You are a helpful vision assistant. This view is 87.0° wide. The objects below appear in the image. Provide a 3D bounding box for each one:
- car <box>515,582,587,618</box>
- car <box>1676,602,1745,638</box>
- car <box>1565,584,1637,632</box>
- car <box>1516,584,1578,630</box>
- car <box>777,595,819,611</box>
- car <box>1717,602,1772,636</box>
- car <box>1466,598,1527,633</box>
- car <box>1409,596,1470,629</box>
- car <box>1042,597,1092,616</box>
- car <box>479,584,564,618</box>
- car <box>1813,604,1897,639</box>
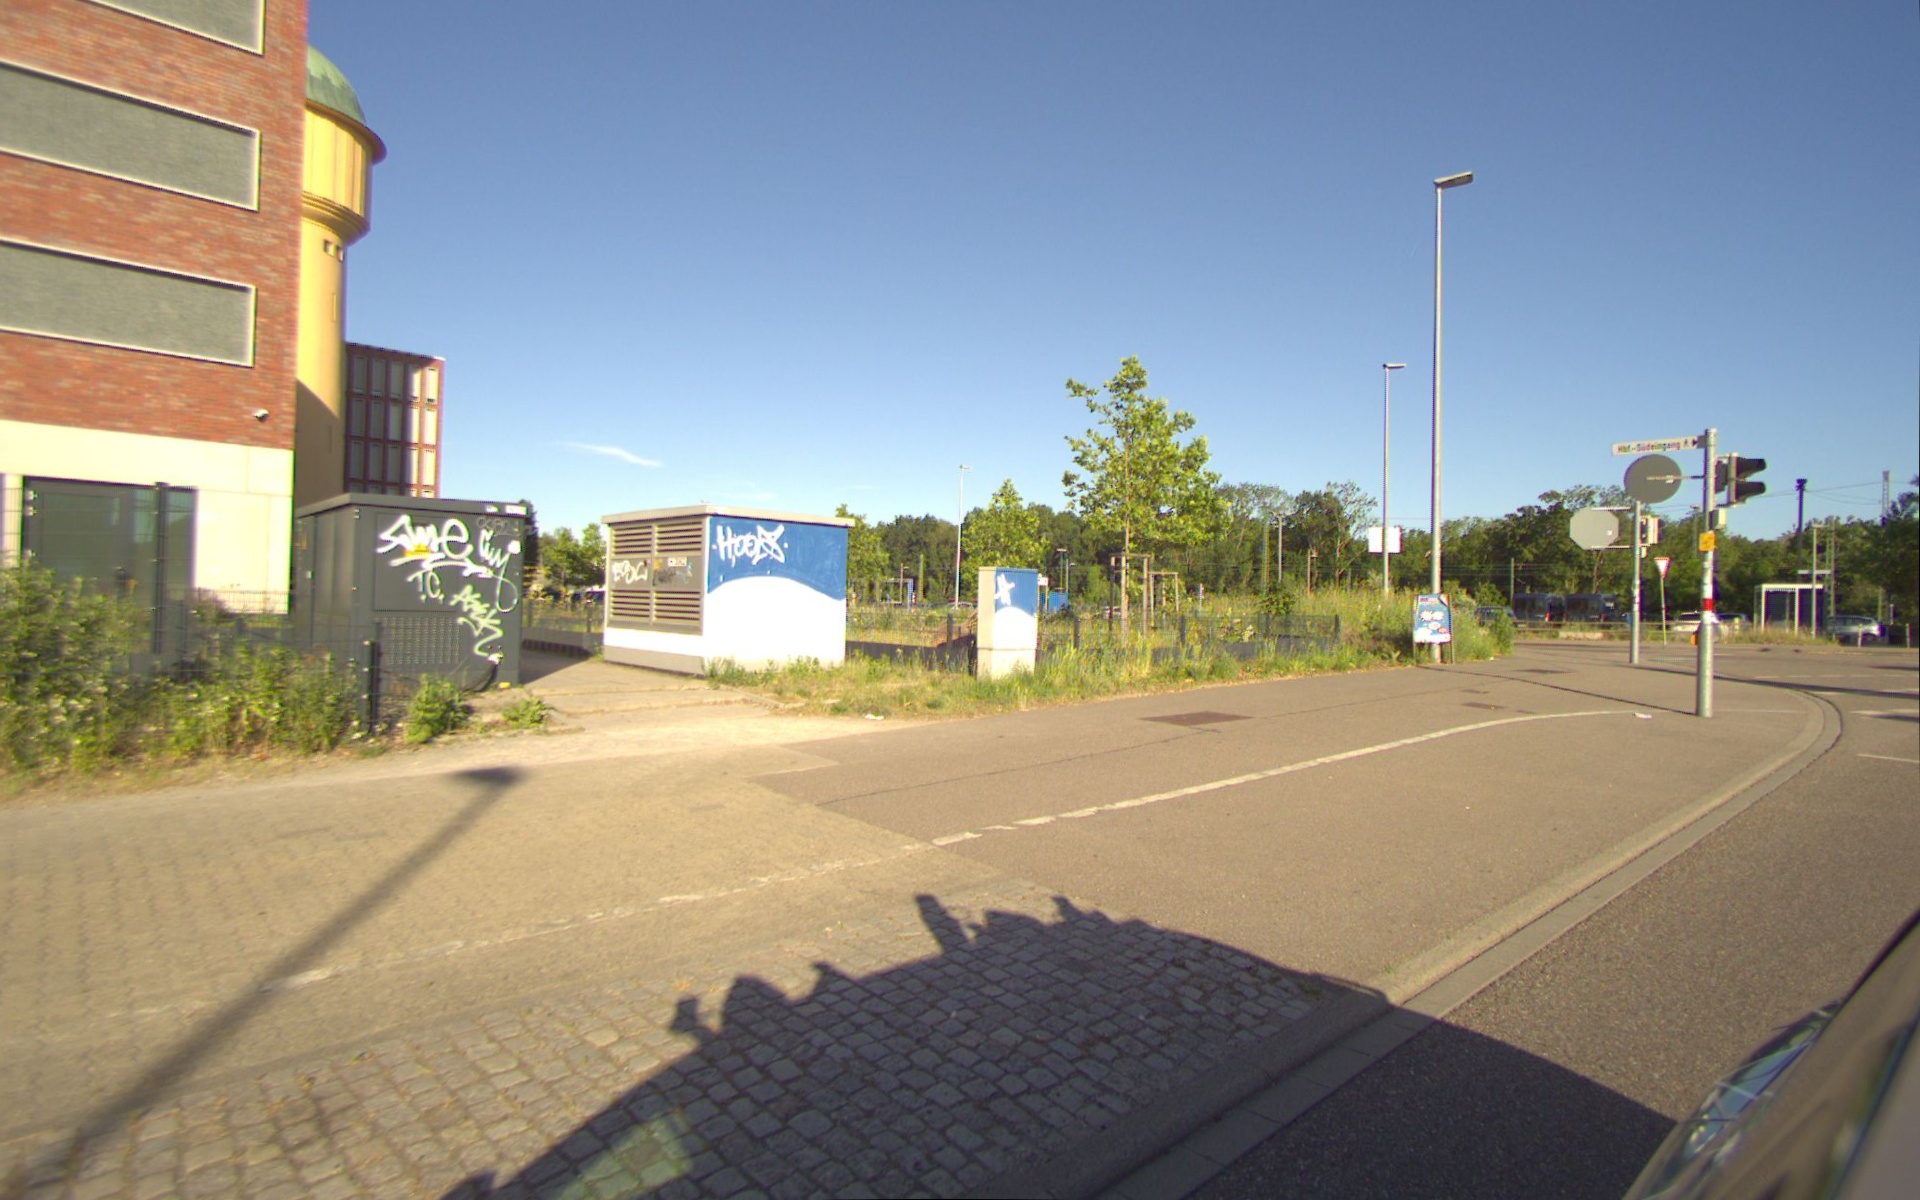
[{"bbox_3d":[-23.806,0.033,58.975,3.425,2.047,1.832,1,-1,-43],"label":"car"},{"bbox_3d":[33.276,0.865,44.838,1.886,1.530,4.204,0,0,45],"label":"car"},{"bbox_3d":[35.798,0.472,56.465,2.394,2.549,5.424,0,-1,44],"label":"car"},{"bbox_3d":[33.705,0.401,58.043,2.122,2.499,4.410,0,-1,44],"label":"car"},{"bbox_3d":[-18.025,0.324,112.683,1.863,1.801,4.378,0,0,43],"label":"car"},{"bbox_3d":[43.878,1.015,56.565,1.981,1.831,4.135,0,0,45],"label":"car"},{"bbox_3d":[26.872,0.758,50.653,1.865,1.675,4.083,0,0,41],"label":"car"},{"bbox_3d":[24.890,0.677,52.496,1.879,1.631,3.997,0,-1,41],"label":"car"},{"bbox_3d":[9.017,0.545,85.130,1.863,1.484,4.377,0,1,44],"label":"car"},{"bbox_3d":[-27.237,0.108,62.916,4.454,2.039,1.996,1,-1,-42],"label":"car"},{"bbox_3d":[48.164,1.113,54.584,2.155,1.752,4.453,0,0,25],"label":"car"}]
